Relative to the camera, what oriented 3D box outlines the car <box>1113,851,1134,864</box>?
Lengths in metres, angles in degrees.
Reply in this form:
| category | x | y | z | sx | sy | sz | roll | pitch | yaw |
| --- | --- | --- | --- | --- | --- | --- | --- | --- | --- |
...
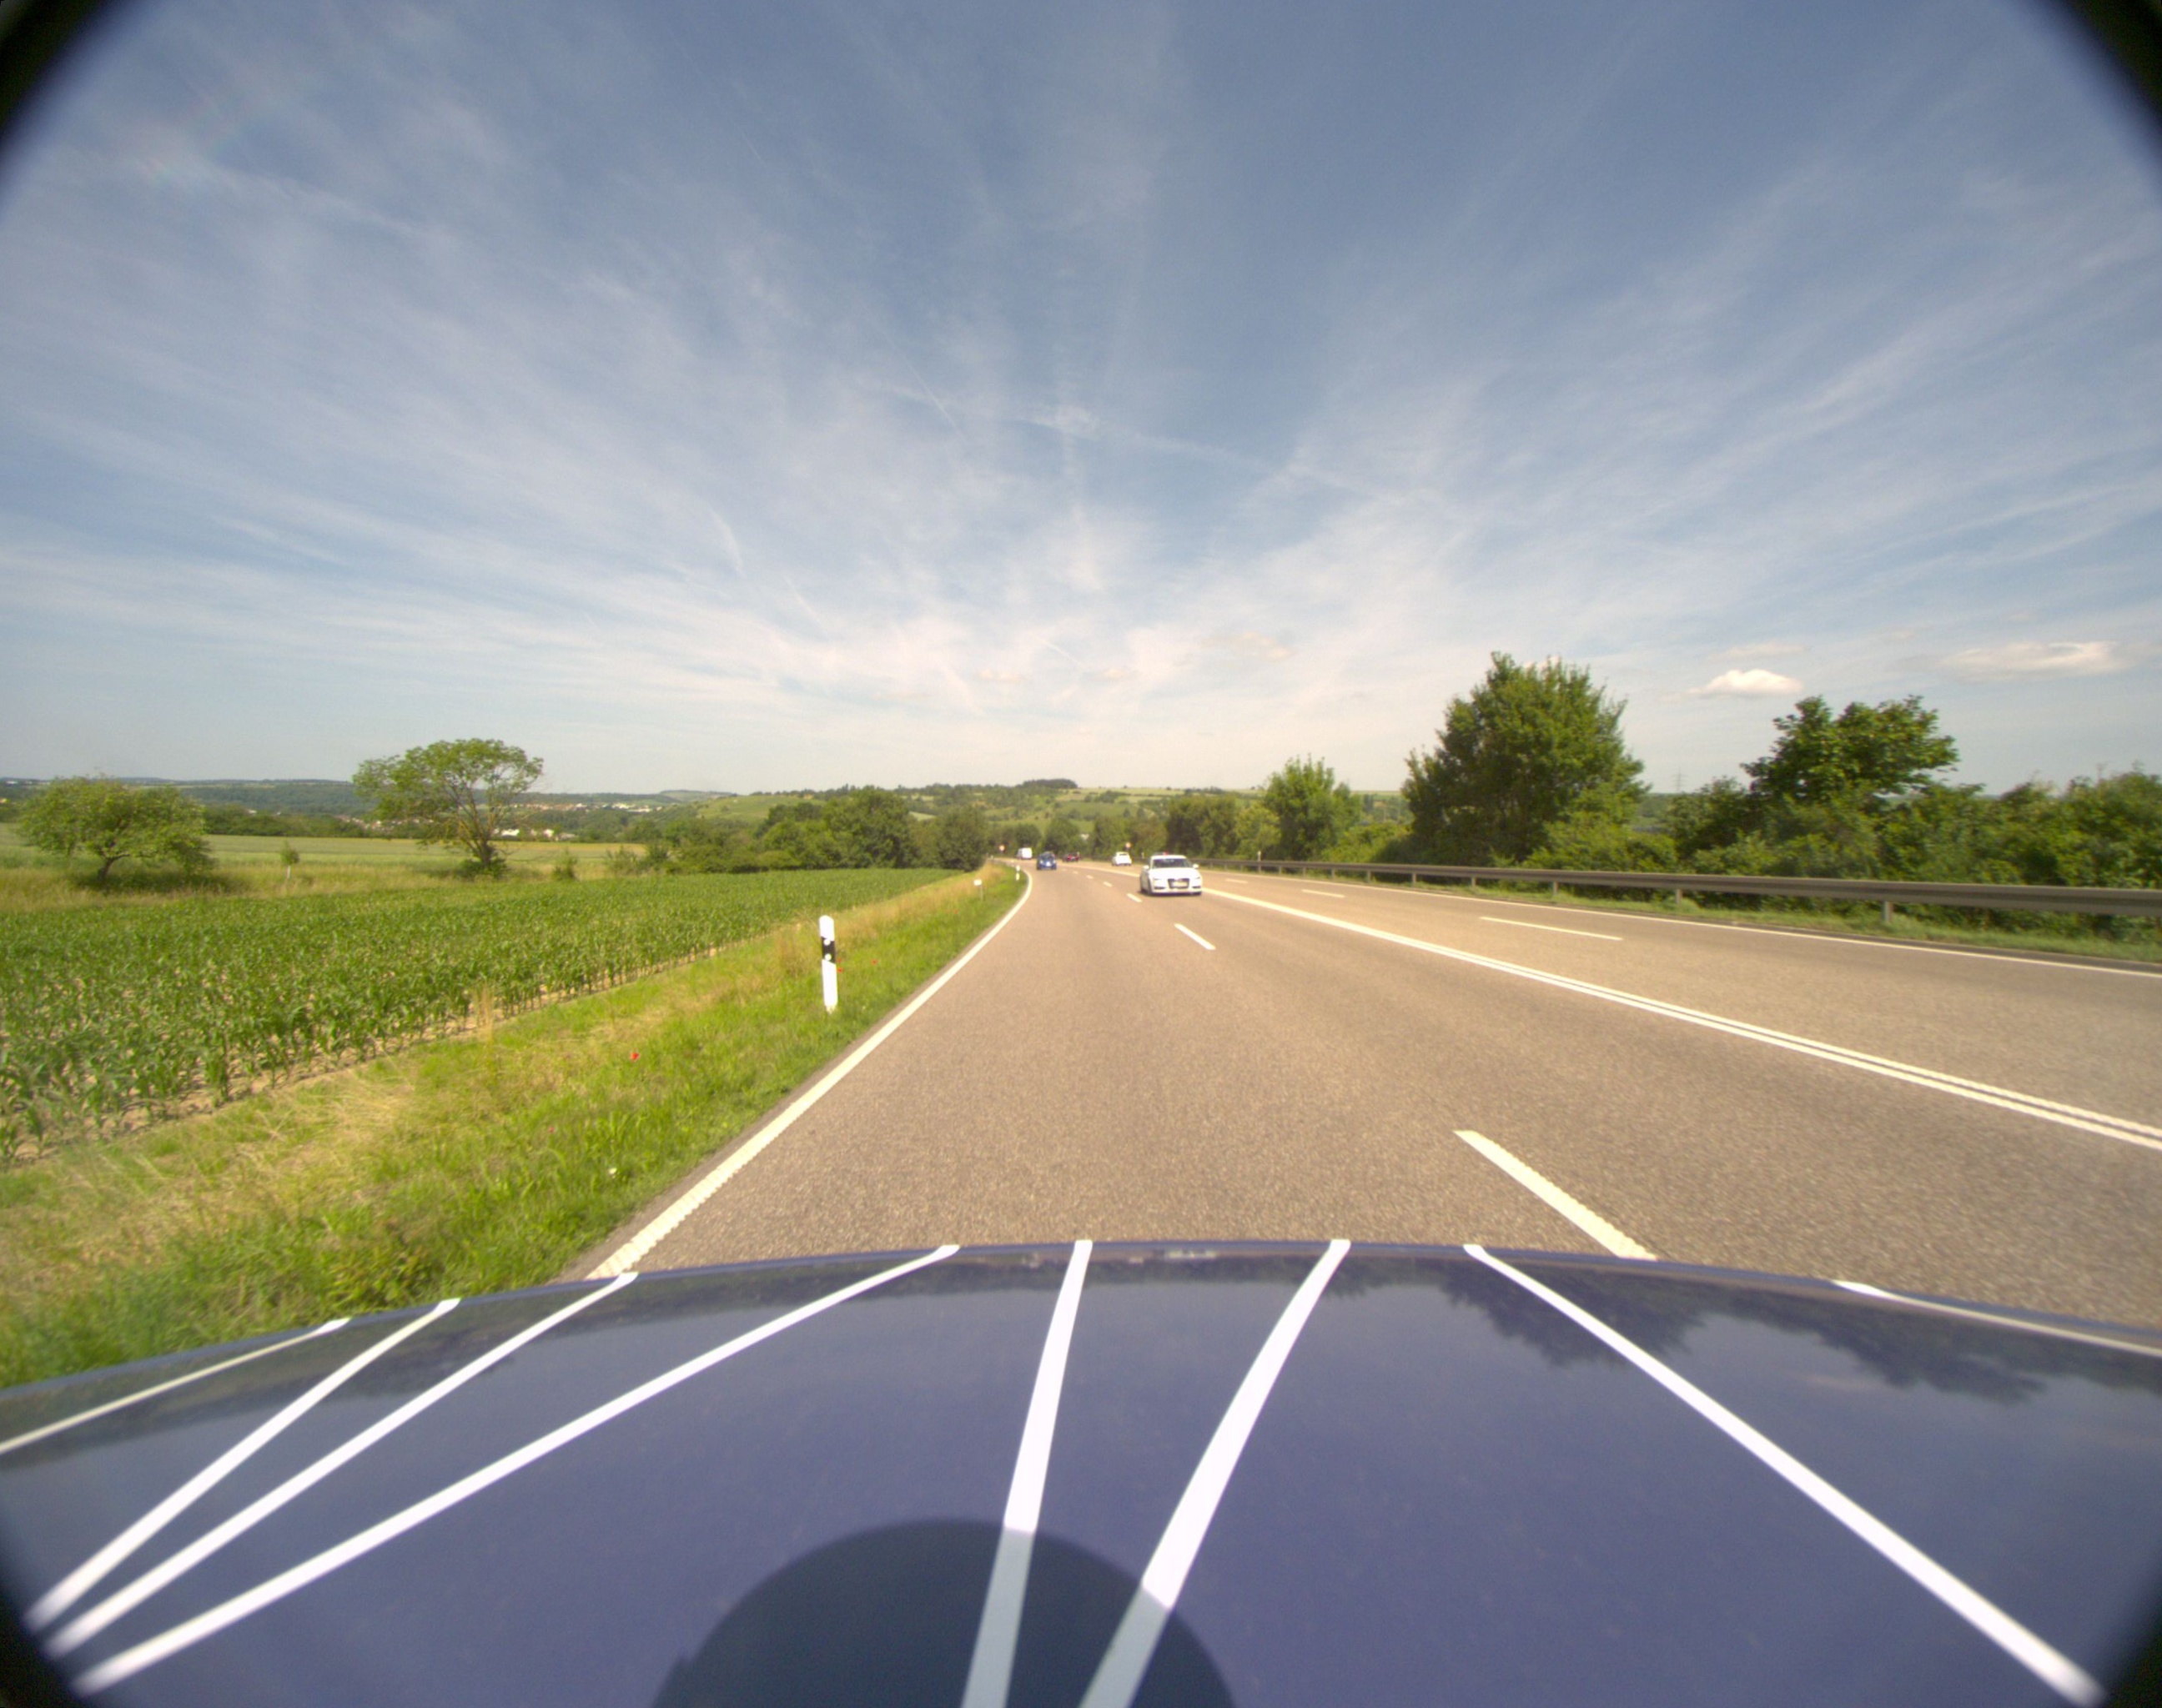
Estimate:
| category | x | y | z | sx | sy | sz | roll | pitch | yaw |
| --- | --- | --- | --- | --- | --- | --- | --- | --- | --- |
| car | 4.791 | 0.368 | 86.303 | 1.663 | 1.449 | 3.731 | -1 | 1 | -8 |

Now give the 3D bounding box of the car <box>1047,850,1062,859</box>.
| category | x | y | z | sx | sy | sz | roll | pitch | yaw |
| --- | --- | --- | --- | --- | --- | --- | --- | --- | --- |
| car | -4.747 | 0.081 | 137.322 | 1.819 | 1.559 | 4.678 | -1 | 0 | -13 |

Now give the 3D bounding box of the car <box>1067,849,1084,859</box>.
| category | x | y | z | sx | sy | sz | roll | pitch | yaw |
| --- | --- | --- | --- | --- | --- | --- | --- | --- | --- |
| car | -0.847 | 0.060 | 118.187 | 1.724 | 1.453 | 4.210 | -2 | 1 | -12 |

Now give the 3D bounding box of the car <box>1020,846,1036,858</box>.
| category | x | y | z | sx | sy | sz | roll | pitch | yaw |
| --- | --- | --- | --- | --- | --- | --- | --- | --- | --- |
| car | -11.265 | -0.390 | 160.038 | 2.097 | 2.380 | 5.836 | -1 | -1 | -17 |

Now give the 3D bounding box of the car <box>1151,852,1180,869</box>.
| category | x | y | z | sx | sy | sz | roll | pitch | yaw |
| --- | --- | --- | --- | --- | --- | --- | --- | --- | --- |
| car | 7.489 | 0.526 | 67.800 | 1.842 | 1.447 | 4.324 | 0 | 0 | -4 |

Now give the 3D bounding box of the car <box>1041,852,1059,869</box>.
| category | x | y | z | sx | sy | sz | roll | pitch | yaw |
| --- | --- | --- | --- | --- | --- | --- | --- | --- | --- |
| car | -3.136 | 0.608 | 75.324 | 1.636 | 1.522 | 3.913 | -3 | 1 | -3 |

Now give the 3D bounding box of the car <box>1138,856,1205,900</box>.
| category | x | y | z | sx | sy | sz | roll | pitch | yaw |
| --- | --- | --- | --- | --- | --- | --- | --- | --- | --- |
| car | 3.148 | 0.804 | 27.316 | 1.708 | 1.368 | 4.602 | -2 | 0 | -2 |
